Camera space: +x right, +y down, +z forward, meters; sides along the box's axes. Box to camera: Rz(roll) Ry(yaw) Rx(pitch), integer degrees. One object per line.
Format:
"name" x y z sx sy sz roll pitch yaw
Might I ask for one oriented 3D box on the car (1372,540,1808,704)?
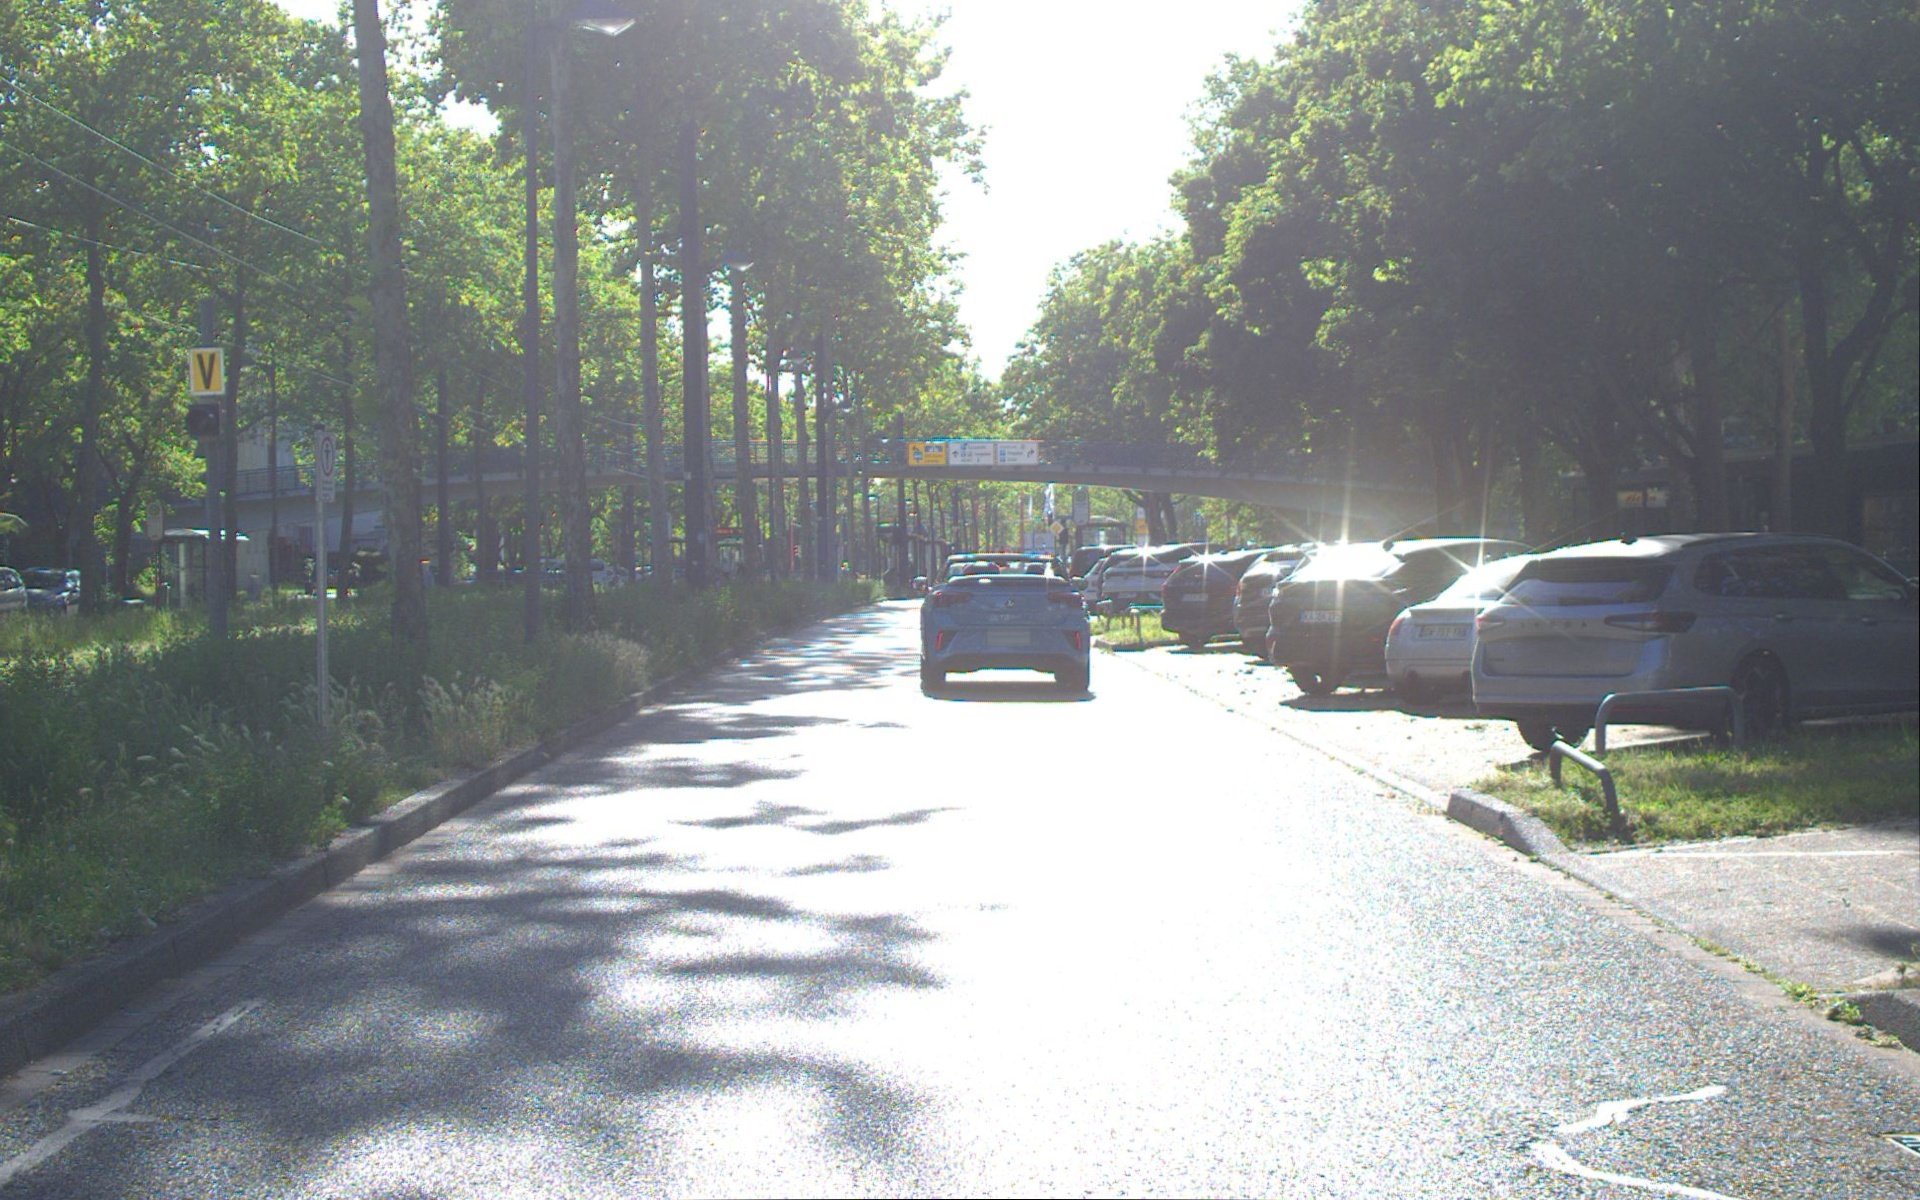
"car" 5.821 0.165 31.436 4.318 1.293 1.691 -3 2 -44

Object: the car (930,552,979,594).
"car" -0.199 -1.047 131.806 1.849 1.530 3.866 0 1 0

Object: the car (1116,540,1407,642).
"car" 4.671 -0.156 52.784 1.978 1.454 4.613 0 1 44

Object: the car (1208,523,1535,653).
"car" 5.537 -0.181 45.903 1.855 1.564 4.613 -1 2 45

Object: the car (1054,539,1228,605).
"car" 4.745 -0.746 89.808 4.611 1.674 1.856 0 1 -43

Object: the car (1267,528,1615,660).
"car" 5.998 -0.095 42.517 4.450 1.445 1.919 -2 0 -45

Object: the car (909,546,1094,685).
"car" 0.450 0.134 38.012 1.922 1.406 4.000 0 1 0

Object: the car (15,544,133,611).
"car" -22.508 -0.593 87.452 1.787 1.584 4.168 2 1 1

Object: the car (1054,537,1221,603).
"car" 4.866 -0.826 93.705 4.611 1.762 1.856 0 1 -43

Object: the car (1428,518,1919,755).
"car" 5.428 0.193 24.057 4.482 1.438 1.855 -3 2 -44

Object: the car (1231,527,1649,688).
"car" 4.869 0.049 34.519 4.318 1.420 1.855 -3 2 -44

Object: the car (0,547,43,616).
"car" -23.310 -0.470 81.305 1.993 1.584 4.168 2 1 1

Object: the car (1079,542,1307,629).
"car" 4.662 -0.301 68.401 4.611 1.674 1.856 0 1 -43

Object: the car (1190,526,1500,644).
"car" 5.526 -0.237 48.950 4.612 1.564 1.856 -2 1 -44
